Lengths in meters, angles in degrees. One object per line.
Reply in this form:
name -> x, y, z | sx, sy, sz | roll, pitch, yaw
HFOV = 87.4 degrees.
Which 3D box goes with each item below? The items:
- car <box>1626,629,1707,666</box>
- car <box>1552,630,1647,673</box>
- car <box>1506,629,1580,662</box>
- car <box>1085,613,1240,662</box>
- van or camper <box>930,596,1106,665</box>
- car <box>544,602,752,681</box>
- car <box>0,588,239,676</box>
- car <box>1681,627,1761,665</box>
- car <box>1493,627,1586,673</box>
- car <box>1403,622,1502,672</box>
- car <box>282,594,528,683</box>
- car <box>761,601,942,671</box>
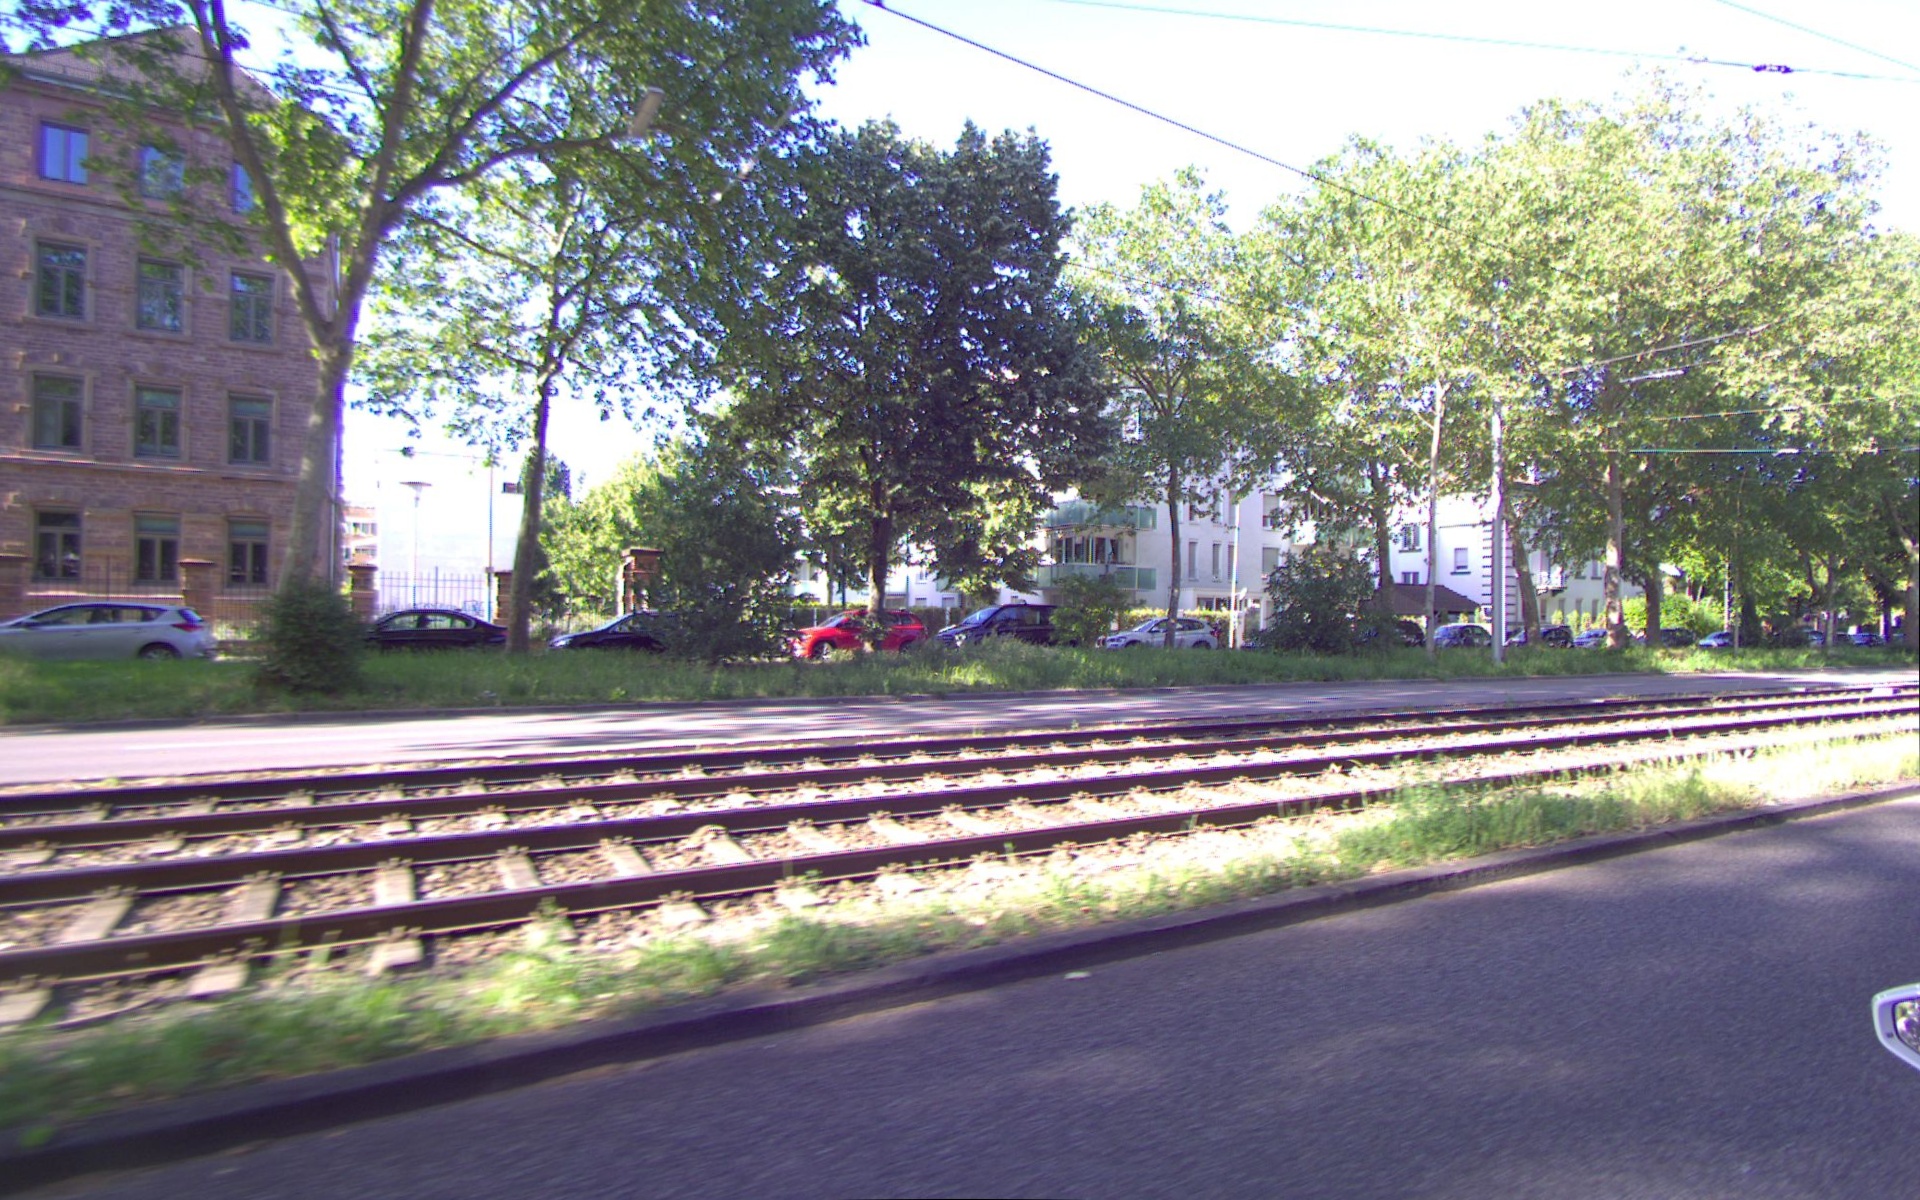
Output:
car -> 37.333, 2.479, 53.027 | 4.500, 1.860, 1.812 | 1, -1, -30
car -> 31.681, 2.509, 49.713 | 4.625, 2.040, 1.985 | 1, -1, -28
car -> 37.043, 2.842, 63.893 | 1.694, 1.964, 3.786 | 1, -1, -31
car -> 7.091, 1.334, 35.204 | 5.012, 1.619, 2.025 | 1, -3, -21
van or camper -> 1.855, 0.965, 31.681 | 5.157, 2.040, 2.254 | 2, -1, -31
car -> -7.909, 1.012, 25.566 | 4.687, 1.833, 2.097 | 1, -1, -33
car -> -17.251, 0.616, 20.027 | 4.362, 1.637, 1.987 | 1, -1, -27
car -> 42.758, 2.538, 56.449 | 4.629, 2.040, 1.984 | 1, -1, -30
car -> 27.010, 2.288, 46.789 | 4.052, 2.040, 1.985 | 1, -1, -29
car -> 21.326, 1.992, 43.476 | 4.045, 2.040, 1.984 | 1, -1, -31
car -> -12.491, 0.845, 22.797 | 4.685, 1.833, 2.098 | 1, -1, -32
car -> -3.055, 0.993, 28.619 | 4.686, 1.833, 2.097 | 1, -1, -32
